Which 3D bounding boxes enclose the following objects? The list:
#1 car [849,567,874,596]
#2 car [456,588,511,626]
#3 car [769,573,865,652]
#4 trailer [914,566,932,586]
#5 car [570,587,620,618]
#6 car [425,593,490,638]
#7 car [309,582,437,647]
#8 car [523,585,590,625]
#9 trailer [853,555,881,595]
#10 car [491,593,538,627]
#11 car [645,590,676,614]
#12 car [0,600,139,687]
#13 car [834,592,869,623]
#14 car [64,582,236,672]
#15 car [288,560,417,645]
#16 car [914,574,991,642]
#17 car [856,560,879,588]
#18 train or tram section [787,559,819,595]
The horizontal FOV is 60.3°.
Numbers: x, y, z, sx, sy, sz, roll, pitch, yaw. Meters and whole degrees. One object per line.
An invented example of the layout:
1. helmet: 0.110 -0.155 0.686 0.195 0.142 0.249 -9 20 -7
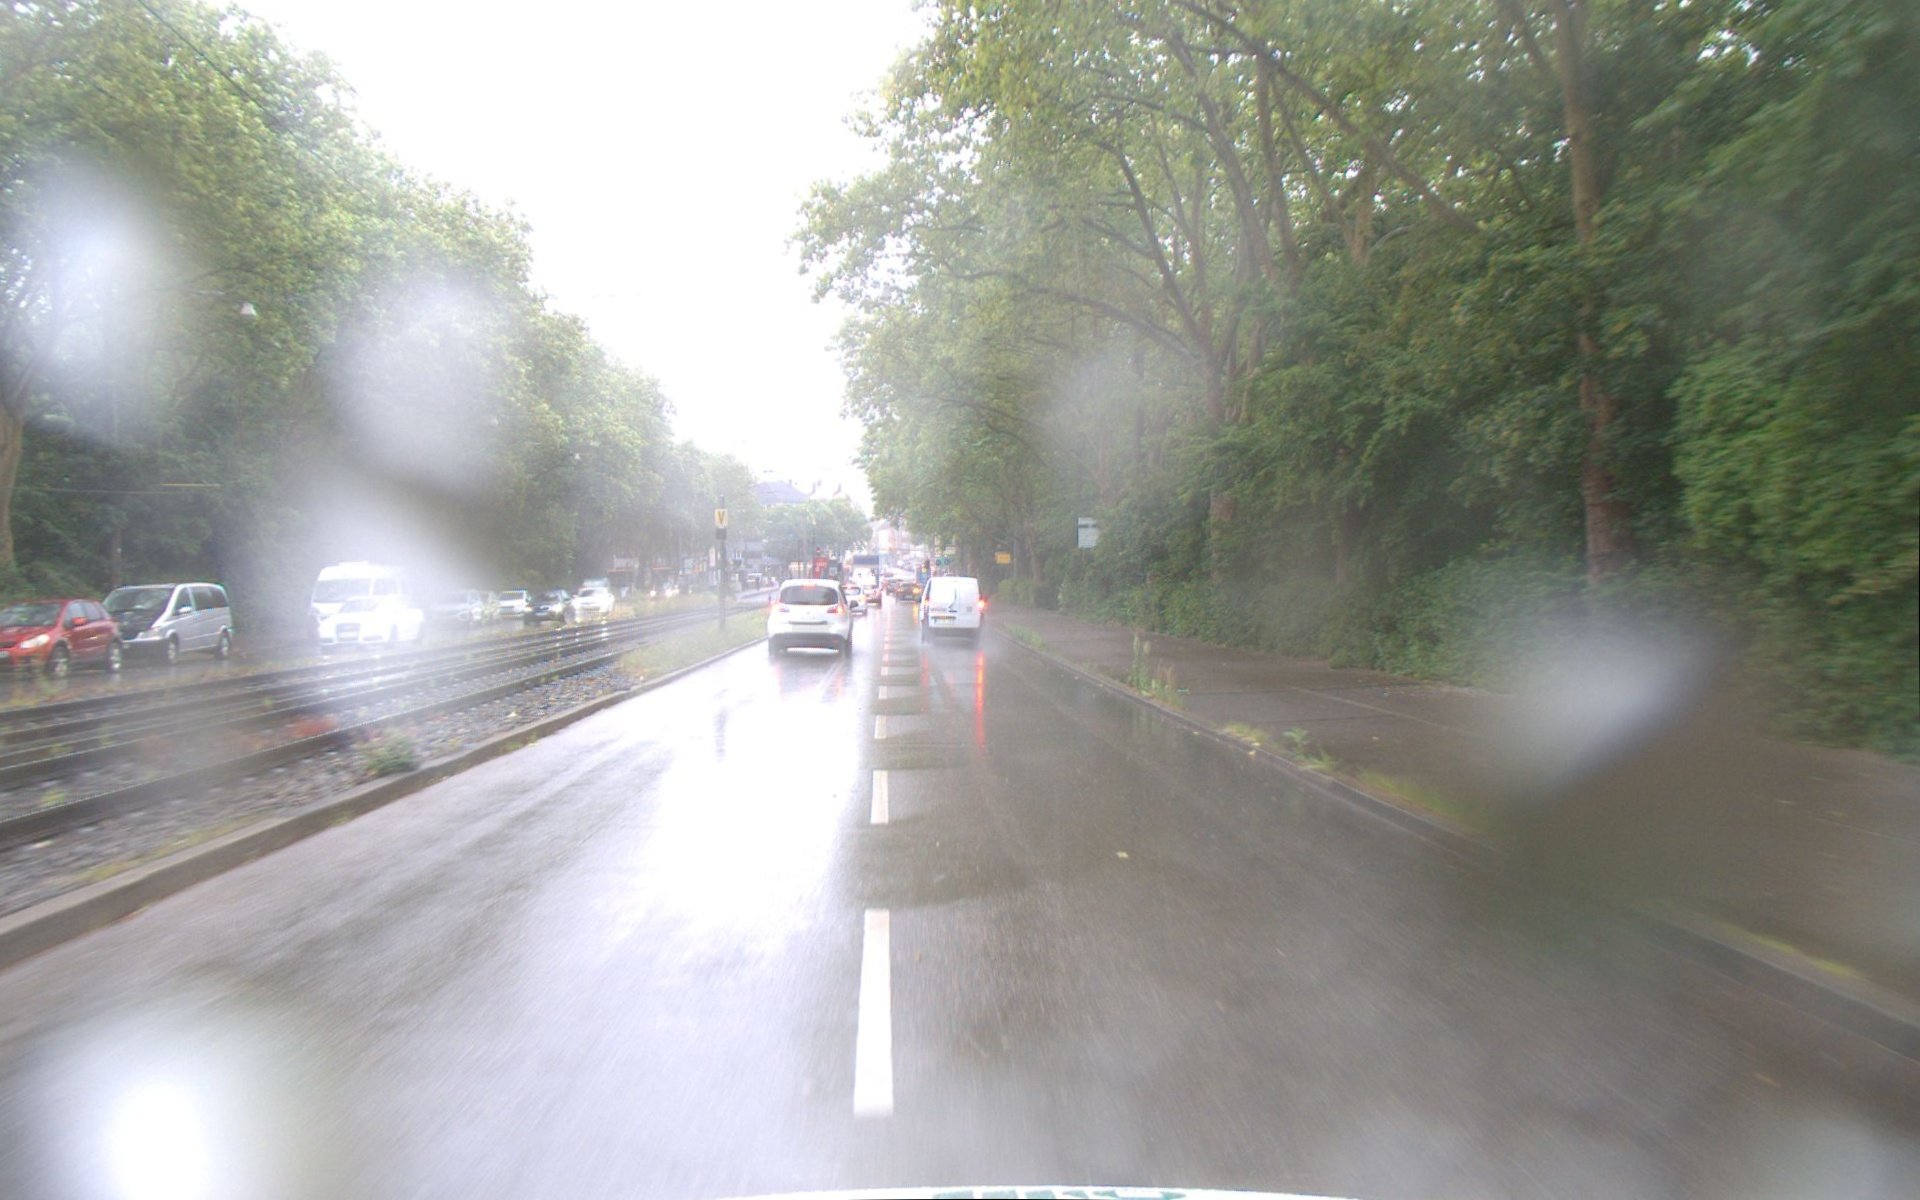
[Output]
1. car: -9.103 -1.719 153.488 2.283 2.602 6.110 0 0 -3
2. car: -21.952 0.294 76.300 1.727 1.677 3.809 -2 0 -5
3. car: -3.153 0.251 37.169 1.827 1.652 4.262 1 0 -1
4. trailer: -4.526 -2.873 201.412 1.954 2.357 4.665 0 0 -3
5. car: -19.415 0.115 88.170 1.940 1.594 4.764 -2 1 -5
6. car: -21.179 0.620 69.857 1.716 1.758 4.526 -2 1 -5
7. car: -15.644 0.354 44.362 1.994 1.579 4.991 -2 1 -5
8. car: -17.136 0.192 70.453 1.993 1.579 4.563 -2 1 -4
9. trailer: -9.338 -2.496 165.275 2.539 3.967 7.629 1 1 -4
10. car: -23.363 0.508 86.817 1.727 1.677 3.809 -2 0 -5
11. car: -23.576 0.116 130.450 1.992 1.781 4.255 -2 1 -5
12. car: -18.314 0.835 33.242 1.782 1.579 4.021 -2 1 -4
13. car: -5.311 0.363 81.108 1.691 1.505 3.803 1 0 -4
14. car: -18.773 0.579 38.583 1.918 1.894 4.637 -2 0 -4
15. car: -20.037 0.048 54.906 2.343 2.585 6.559 -2 1 -5
16. car: -0.239 0.217 45.686 1.920 1.808 3.567 1 0 -4
17. car: -7.961 -2.219 142.291 1.954 2.302 5.285 0 0 -3
18. train or tram section: -15.481 -2.346 163.512 2.903 3.342 8.354 -1 2 -4
